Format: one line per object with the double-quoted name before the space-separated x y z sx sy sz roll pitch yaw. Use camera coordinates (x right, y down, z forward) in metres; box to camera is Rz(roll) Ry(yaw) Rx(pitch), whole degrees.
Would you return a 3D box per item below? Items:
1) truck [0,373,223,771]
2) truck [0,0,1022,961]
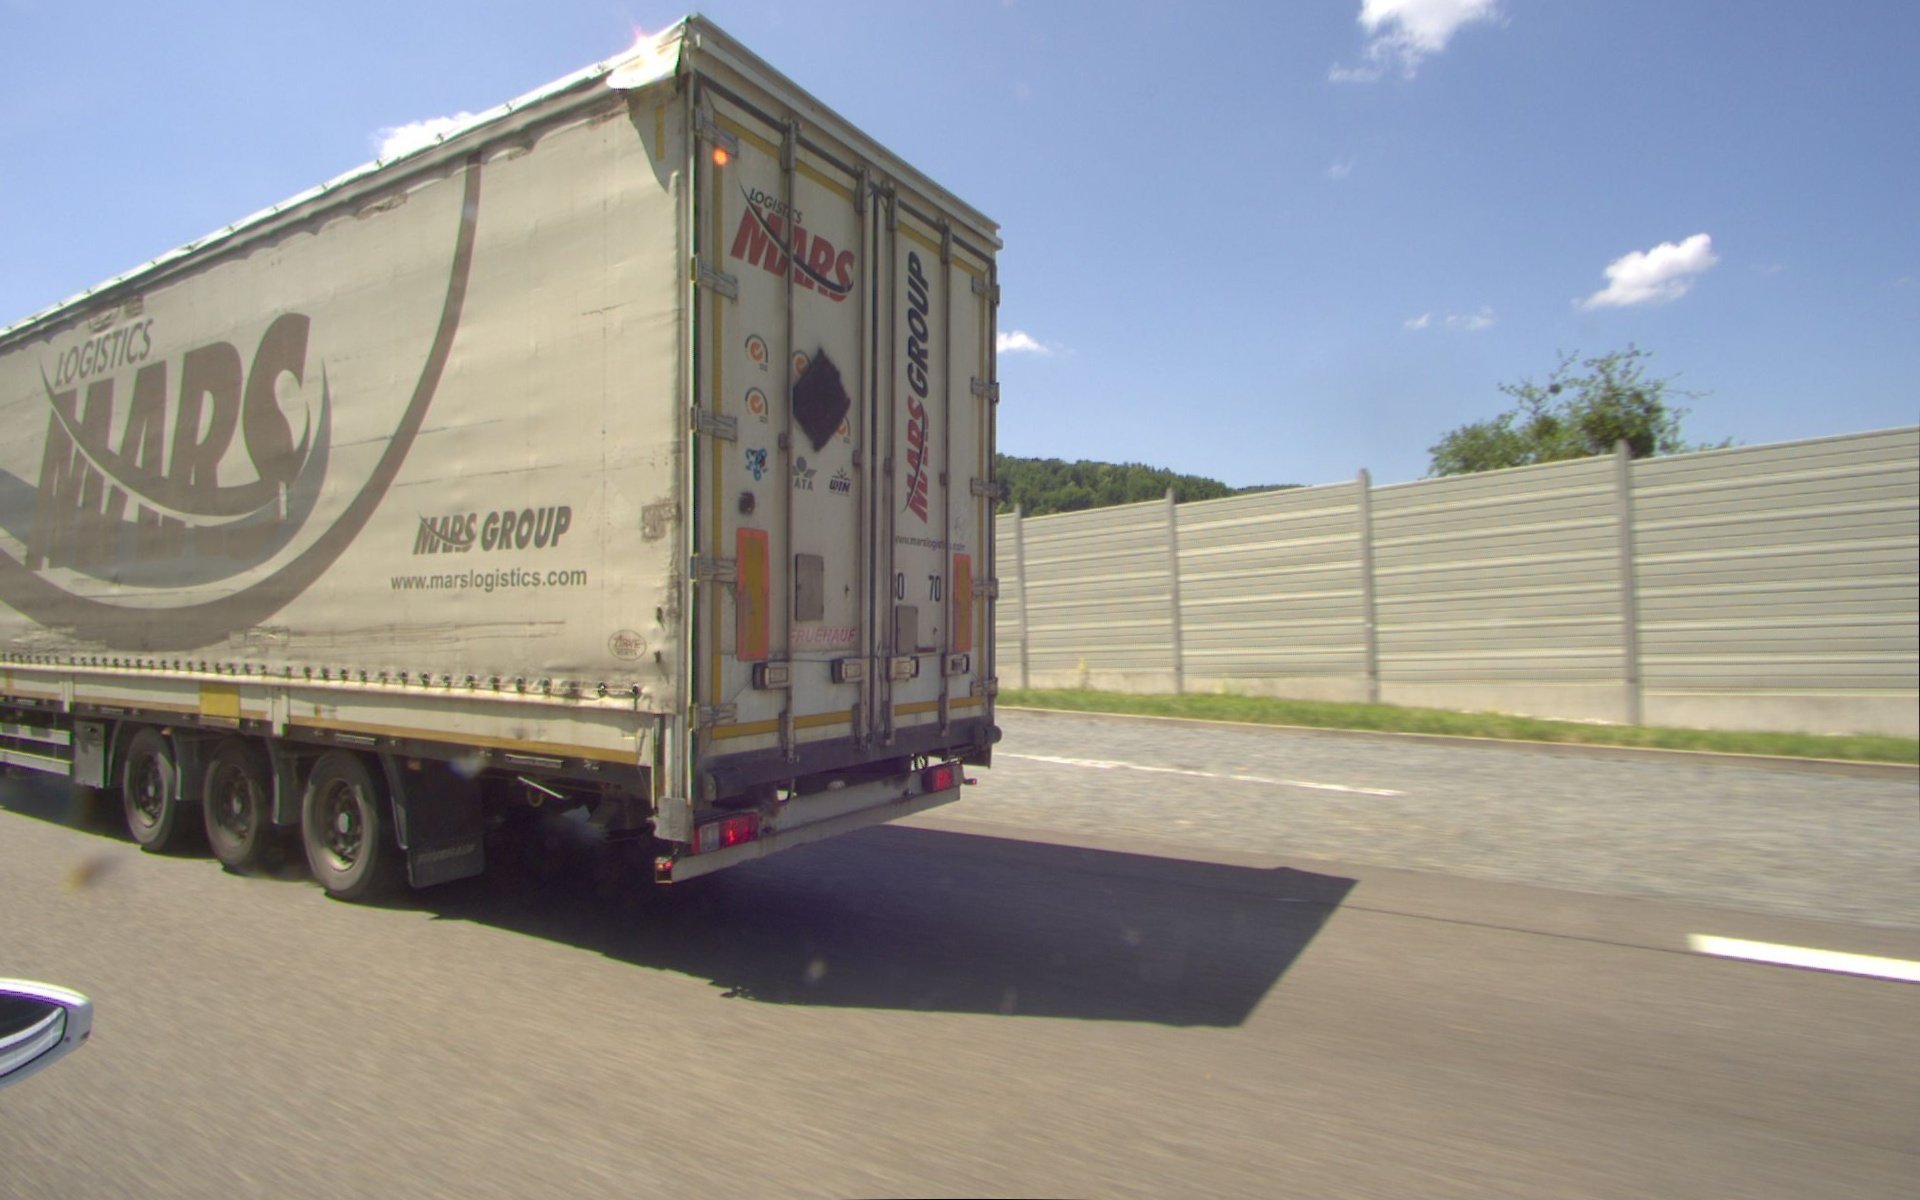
"truck" -12.028 -0.175 12.347 5.672 4.117 2.716 -2 -4 32
"truck" -6.066 -0.382 8.661 13.544 4.117 2.723 -2 -4 32
